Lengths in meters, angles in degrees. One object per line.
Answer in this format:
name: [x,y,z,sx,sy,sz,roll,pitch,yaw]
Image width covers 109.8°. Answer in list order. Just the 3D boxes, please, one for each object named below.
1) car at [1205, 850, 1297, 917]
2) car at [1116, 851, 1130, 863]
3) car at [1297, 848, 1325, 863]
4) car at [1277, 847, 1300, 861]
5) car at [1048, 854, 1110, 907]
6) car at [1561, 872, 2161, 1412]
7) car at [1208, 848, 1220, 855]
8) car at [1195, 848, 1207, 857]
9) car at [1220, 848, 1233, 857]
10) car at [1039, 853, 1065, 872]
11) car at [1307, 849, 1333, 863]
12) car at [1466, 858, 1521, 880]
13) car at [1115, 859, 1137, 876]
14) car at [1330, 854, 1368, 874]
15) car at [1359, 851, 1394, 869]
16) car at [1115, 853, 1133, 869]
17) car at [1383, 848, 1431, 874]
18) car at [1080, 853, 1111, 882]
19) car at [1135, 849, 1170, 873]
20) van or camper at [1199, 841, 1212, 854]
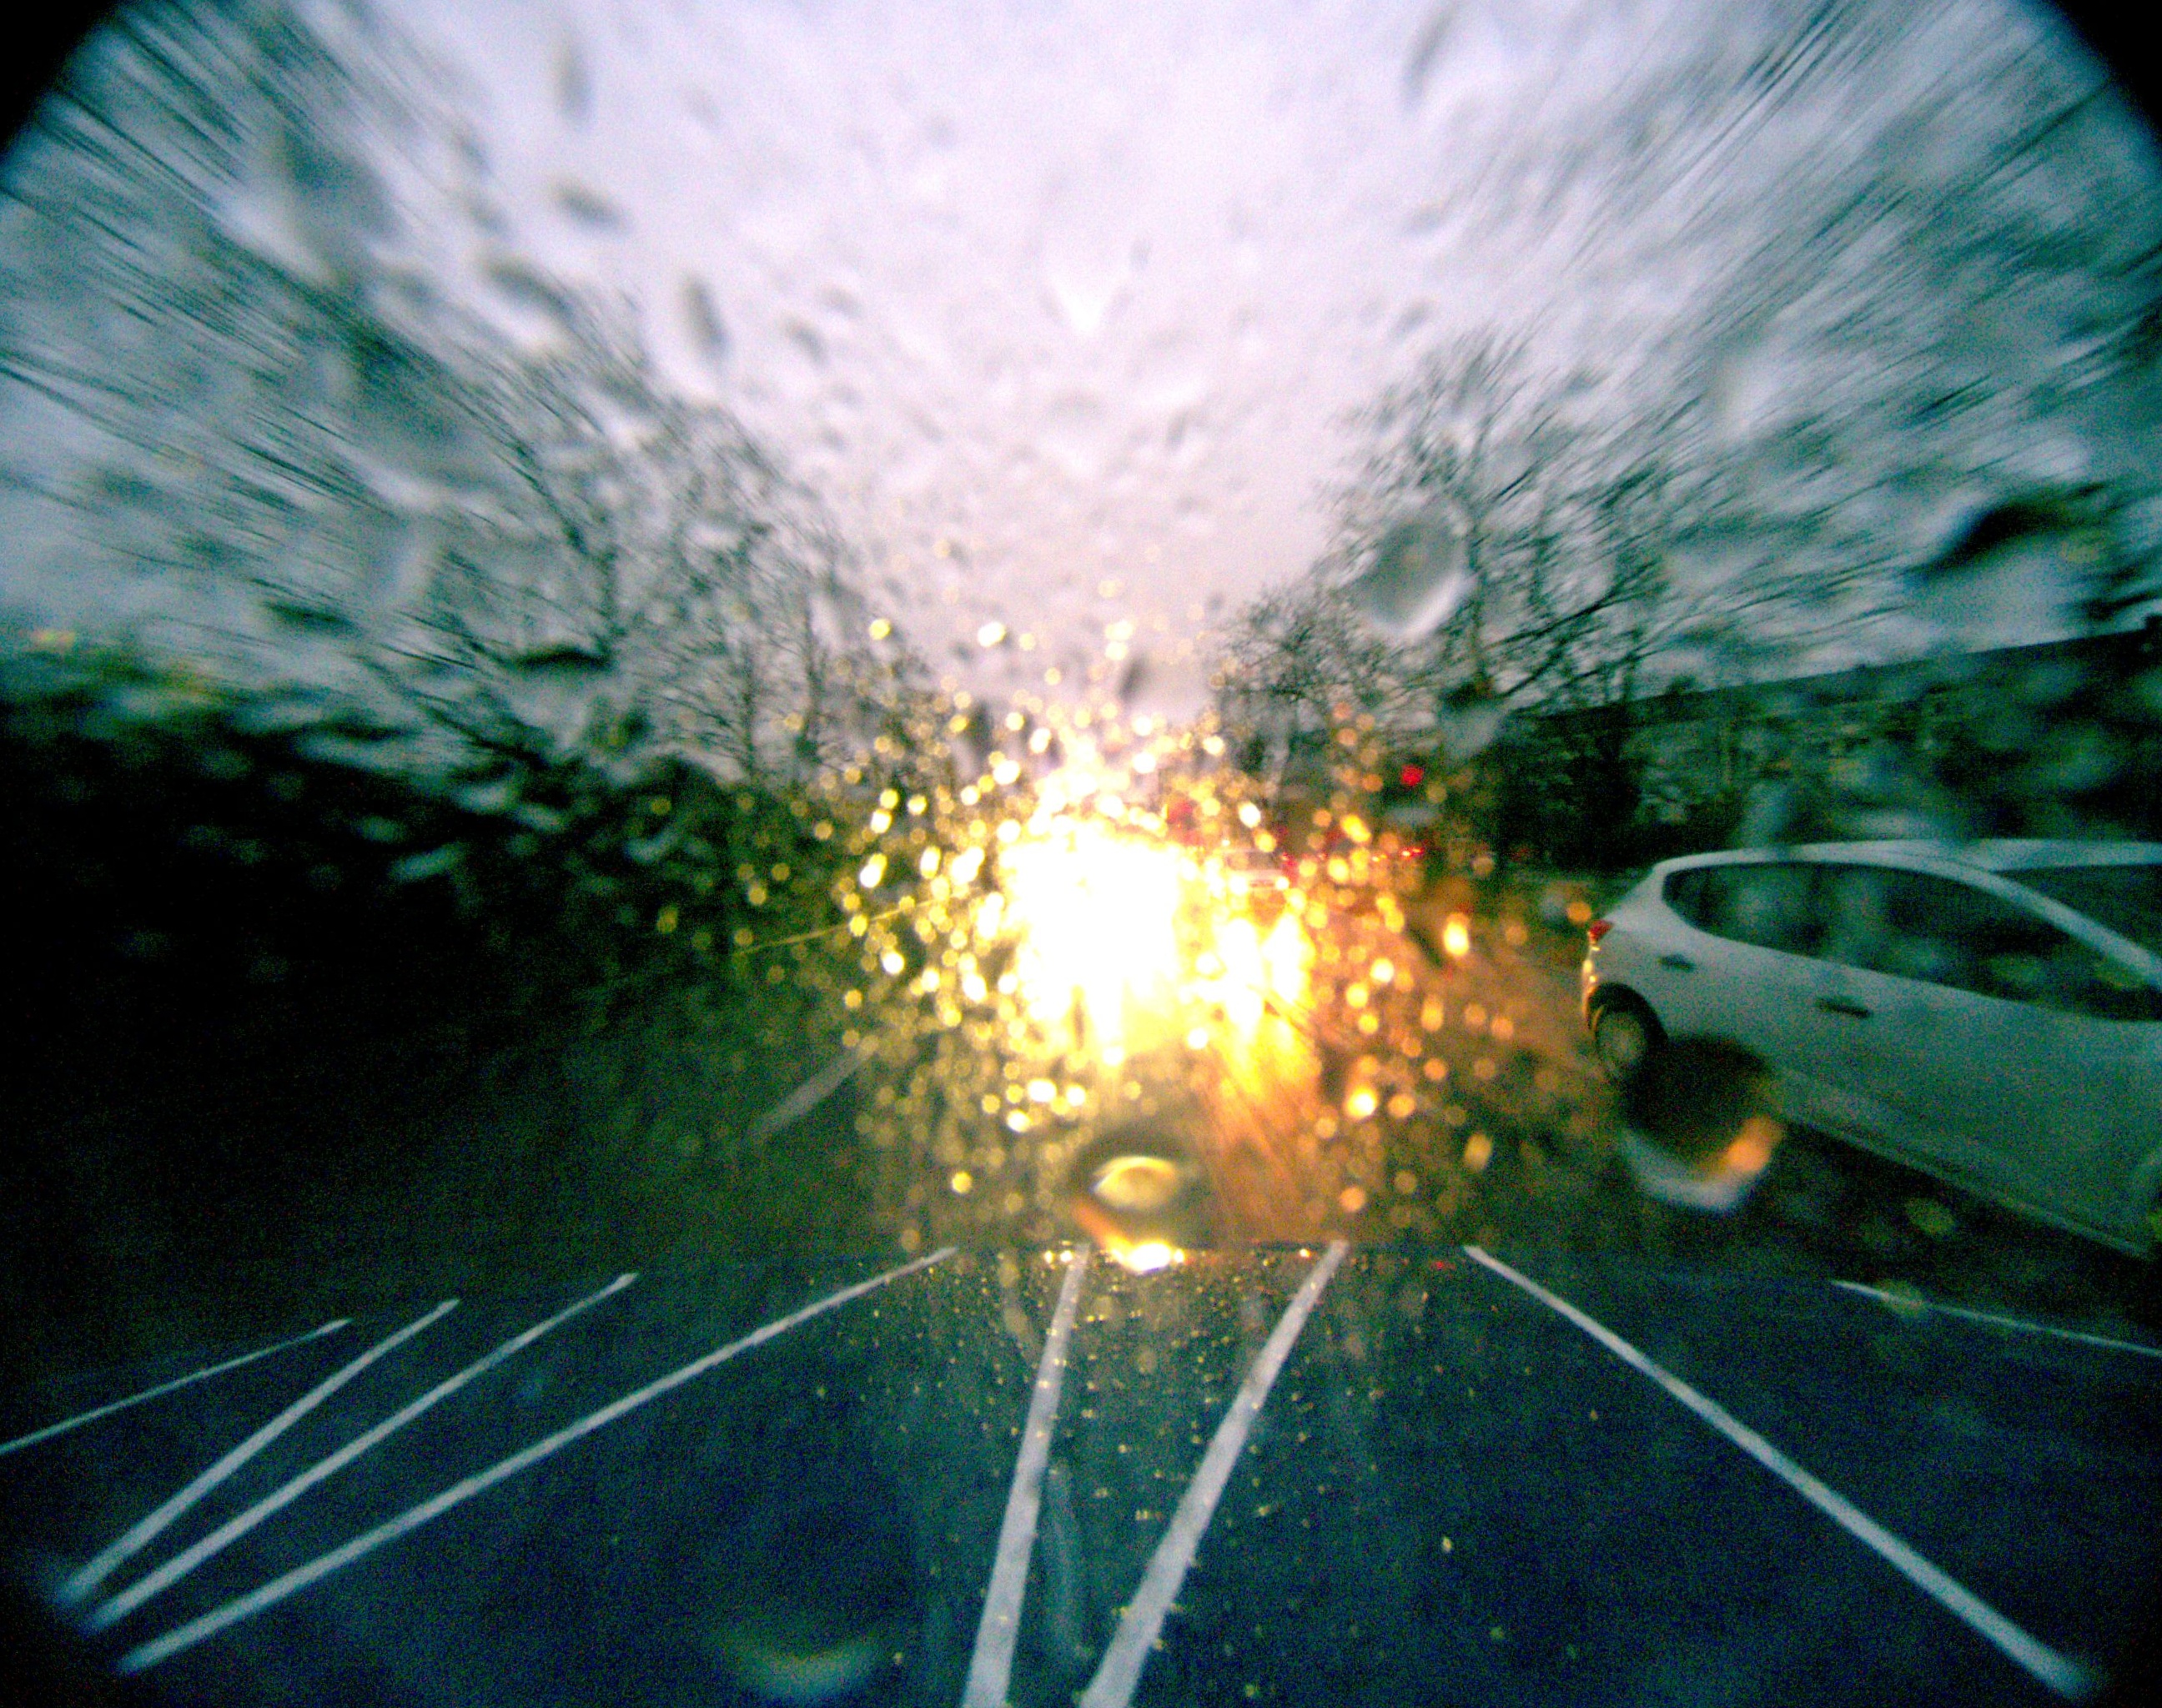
car: [4.498,0.714,20.684,1.765,1.590,4.165,-1,1,3]
car: [5.936,0.399,108.412,1.852,1.610,3.951,-2,1,1]
car: [22.922,0.138,75.890,1.653,1.346,3.956,-1,1,1]
car: [23.594,0.011,86.677,1.653,1.491,3.956,-1,1,2]
car: [0.001,0.786,24.564,1.830,1.524,4.000,-1,1,1]
car: [3.947,0.855,2.824,1.728,1.432,4.226,-1,0,1]
car: [24.703,-0.454,141.248,1.541,1.285,4.000,-1,1,2]
car: [21.583,-0.250,136.590,1.573,1.495,4.000,-2,1,1]
car: [24.417,-0.269,127.318,1.541,1.304,4.000,-1,1,2]
car: [-2.267,0.667,60.225,1.728,1.426,3.790,-1,1,1]
car: [27.506,0.204,87.646,1.722,1.480,4.272,-1,1,1]
car: [29.123,1.033,53.800,1.752,1.387,4.300,-1,1,3]
car: [4.017,1.162,68.125,1.697,1.327,3.999,-2,1,1]
car: [23.067,0.833,65.519,1.788,1.524,4.377,-1,1,1]
car: [25.754,0.537,66.290,1.636,1.459,3.791,-1,1,1]
car: [4.840,0.756,85.736,1.852,1.610,3.951,-2,1,1]
car: [21.668,0.442,50.656,1.621,1.672,3.981,-1,0,1]
car: [0.844,0.750,44.768,1.728,1.573,3.790,-1,1,1]
car: [4.768,0.445,51.344,2.026,1.522,4.145,-1,1,0]
van or camper: [25.524,-1.412,155.952,1.967,2.594,4.738,-1,1,2]
